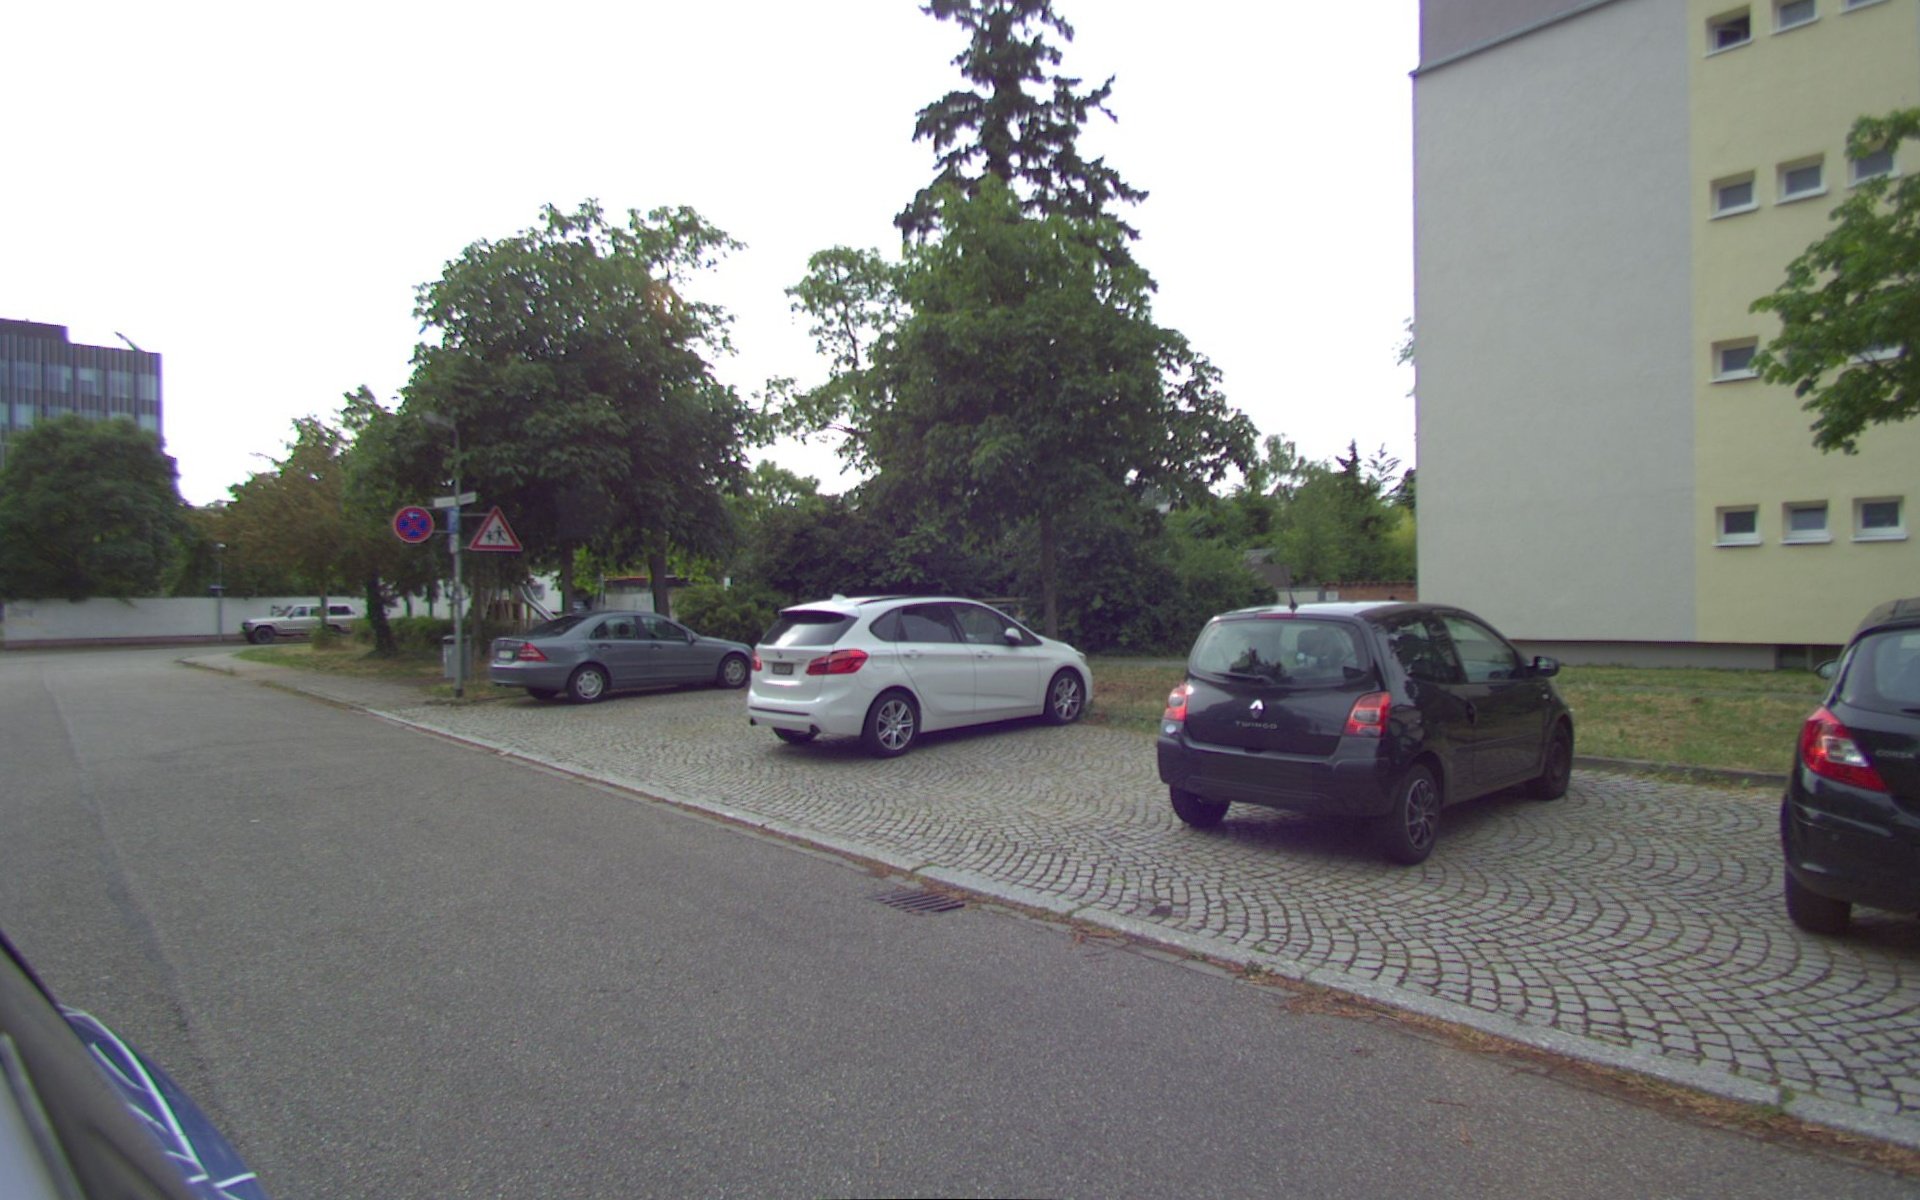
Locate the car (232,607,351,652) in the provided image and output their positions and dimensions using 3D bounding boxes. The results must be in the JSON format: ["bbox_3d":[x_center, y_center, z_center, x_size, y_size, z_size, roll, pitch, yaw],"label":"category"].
[{"bbox_3d":[-31.918,1.357,48.413,2.000,1.873,4.431,2,2,43],"label":"car"}]

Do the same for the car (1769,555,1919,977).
[{"bbox_3d":[5.530,0.561,4.774,4.288,1.577,1.844,-2,1,-40],"label":"car"}]

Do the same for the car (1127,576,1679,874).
[{"bbox_3d":[3.412,0.616,7.337,4.488,1.474,1.844,-2,1,-40],"label":"car"}]

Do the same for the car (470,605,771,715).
[{"bbox_3d":[-5.491,0.887,16.864,1.680,1.465,4.497,-1,1,42],"label":"car"}]

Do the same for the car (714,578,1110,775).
[{"bbox_3d":[-0.382,0.647,11.174,4.087,1.572,1.886,-5,4,-43],"label":"car"}]
